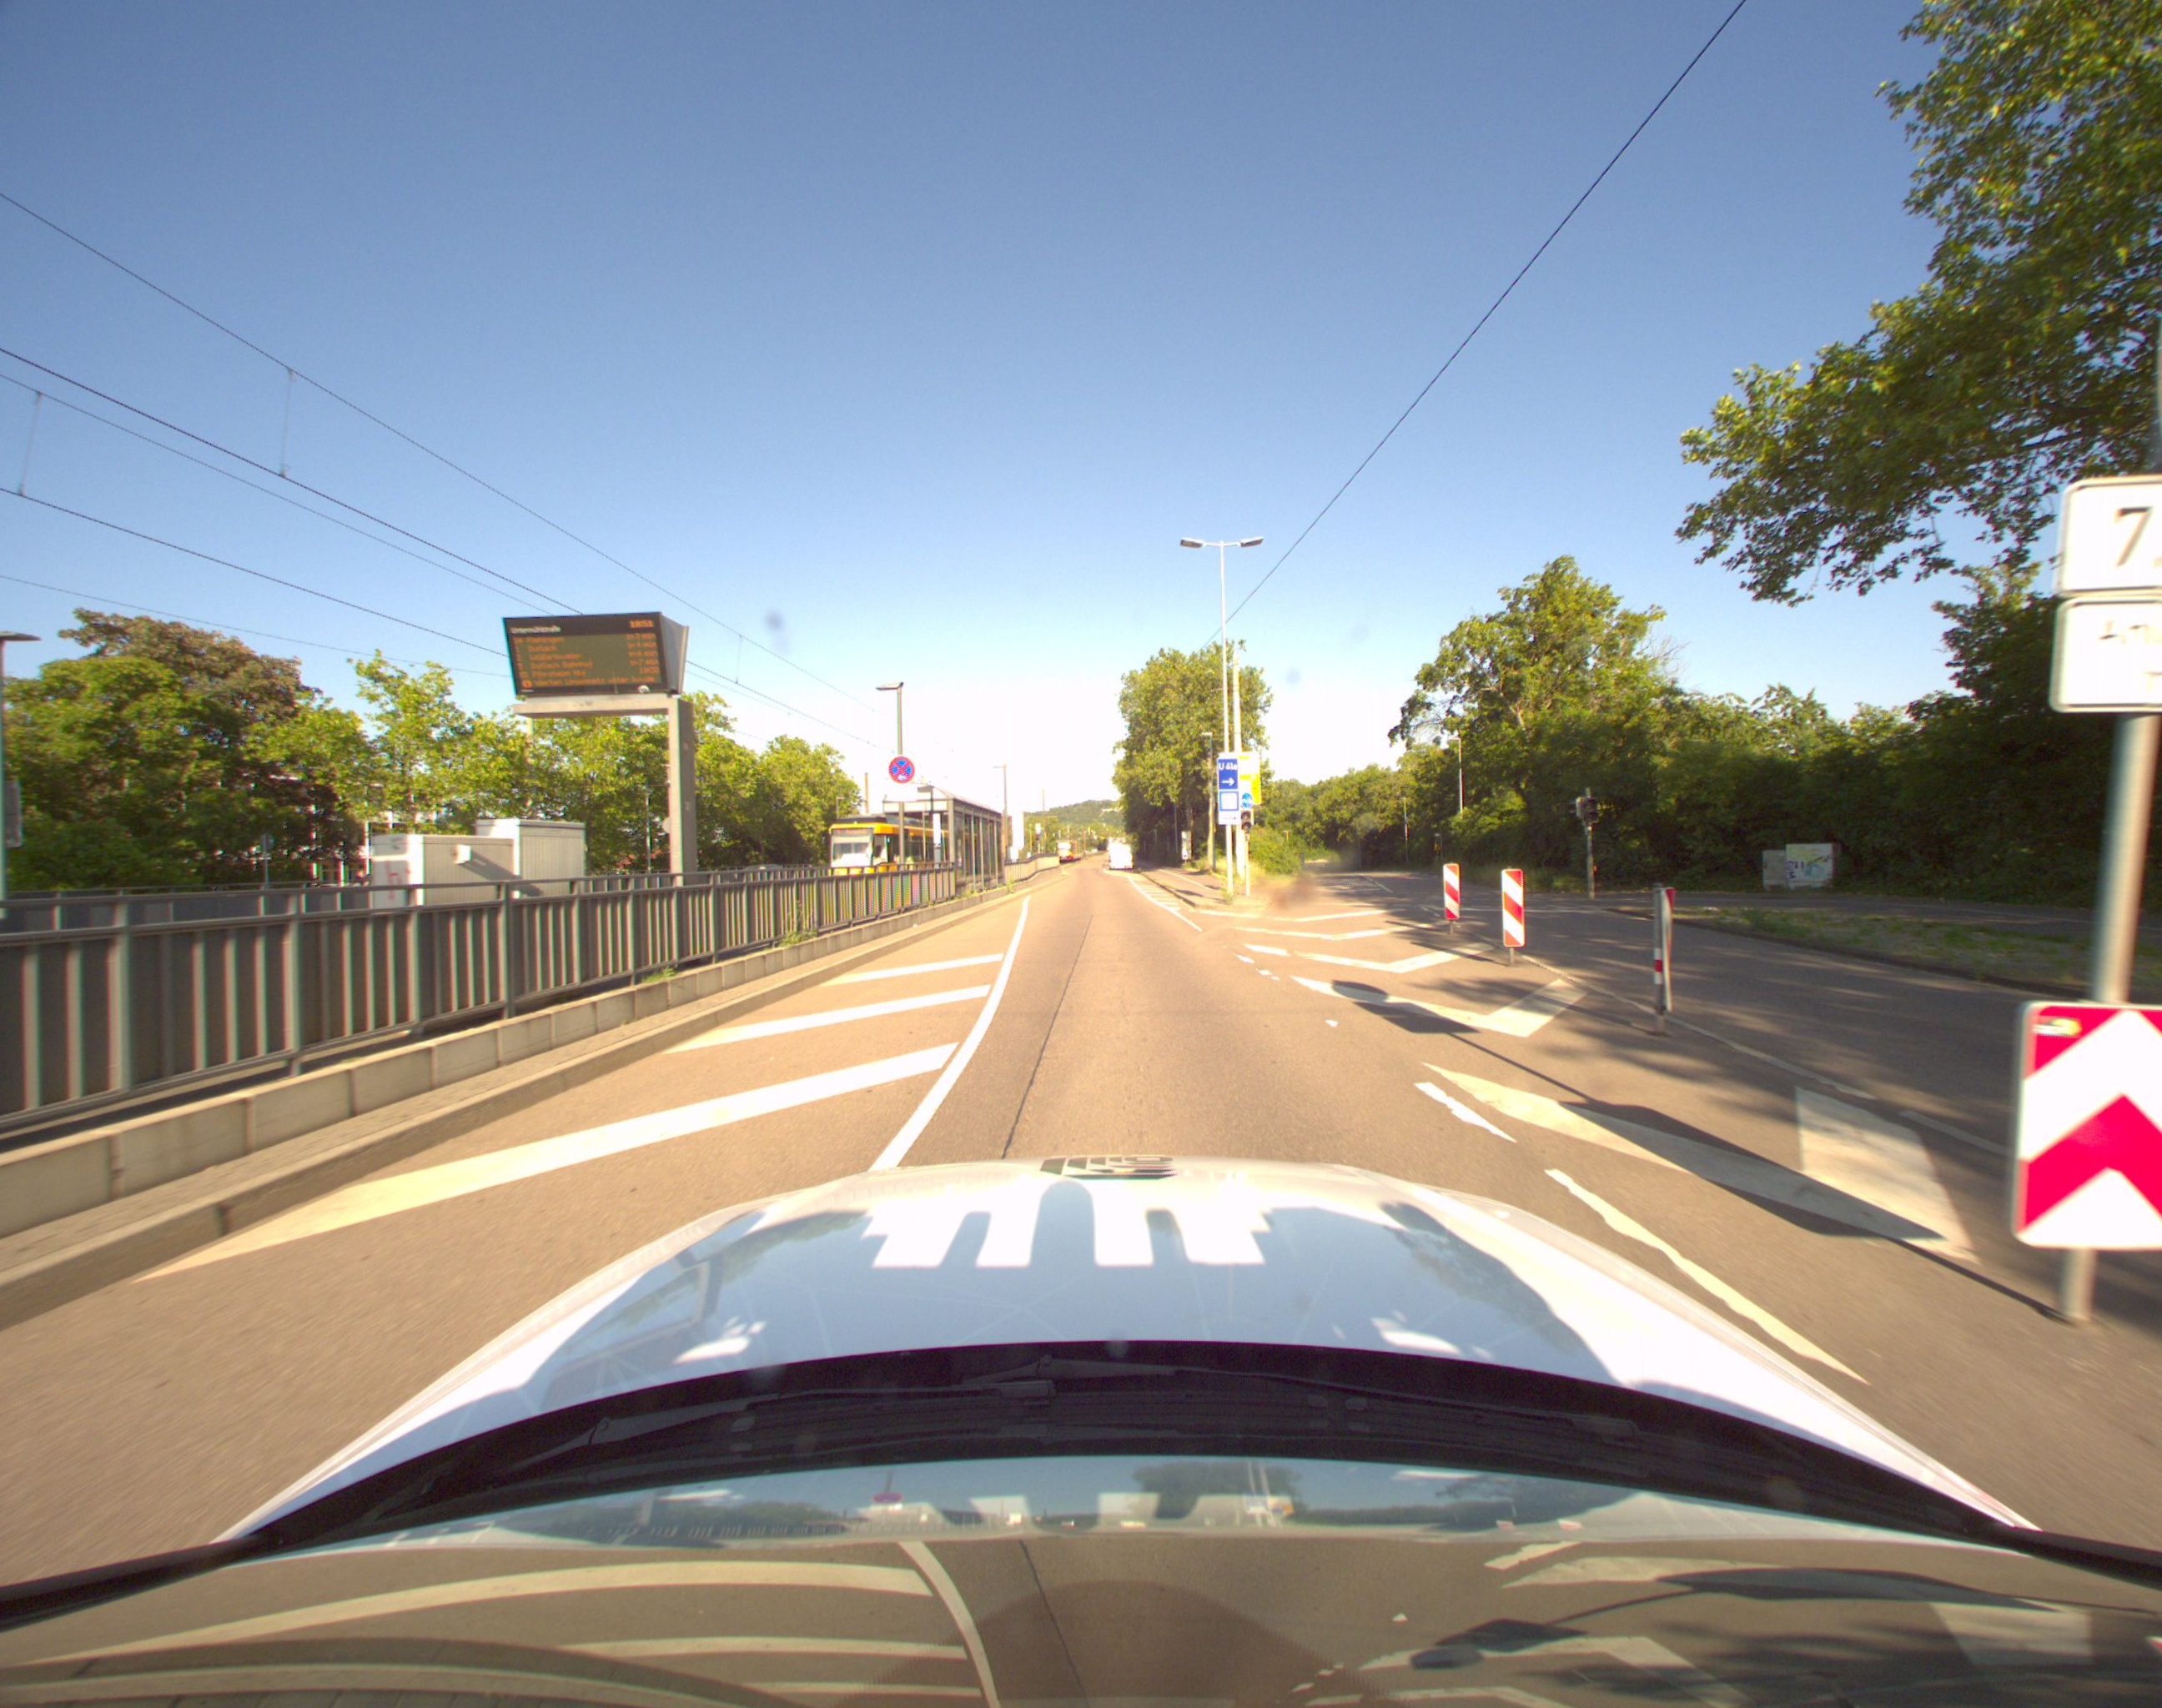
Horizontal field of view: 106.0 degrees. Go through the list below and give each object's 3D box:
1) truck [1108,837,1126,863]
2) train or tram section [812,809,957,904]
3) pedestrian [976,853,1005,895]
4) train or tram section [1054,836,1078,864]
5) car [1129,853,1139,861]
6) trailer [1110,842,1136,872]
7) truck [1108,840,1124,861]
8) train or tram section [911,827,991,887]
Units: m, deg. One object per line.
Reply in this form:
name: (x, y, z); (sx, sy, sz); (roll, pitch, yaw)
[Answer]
truck: (5.573, -0.601, 126.652); (2.731, 3.783, 10.093); (0, 0, 2)
train or tram section: (-9.524, 0.147, 42.381); (2.815, 4.006, 15.887); (-1, 0, 3)
pedestrian: (-3.225, 0.710, 29.008); (0.752, 1.493, 0.699); (-1, -1, 35)
train or tram section: (-2.277, -0.572, 128.113); (2.710, 4.091, 13.624); (-3, 0, 3)
car: (9.117, 0.510, 138.944); (1.646, 1.437, 3.781); (-1, 0, 4)
trailer: (4.128, 0.292, 78.895); (2.240, 2.694, 5.955); (-1, 0, 5)
truck: (6.219, -0.600, 145.575); (2.707, 3.783, 9.765); (0, 0, 2)
train or tram section: (-8.738, 0.195, 56.738); (2.815, 3.687, 12.979); (-1, 0, 3)
